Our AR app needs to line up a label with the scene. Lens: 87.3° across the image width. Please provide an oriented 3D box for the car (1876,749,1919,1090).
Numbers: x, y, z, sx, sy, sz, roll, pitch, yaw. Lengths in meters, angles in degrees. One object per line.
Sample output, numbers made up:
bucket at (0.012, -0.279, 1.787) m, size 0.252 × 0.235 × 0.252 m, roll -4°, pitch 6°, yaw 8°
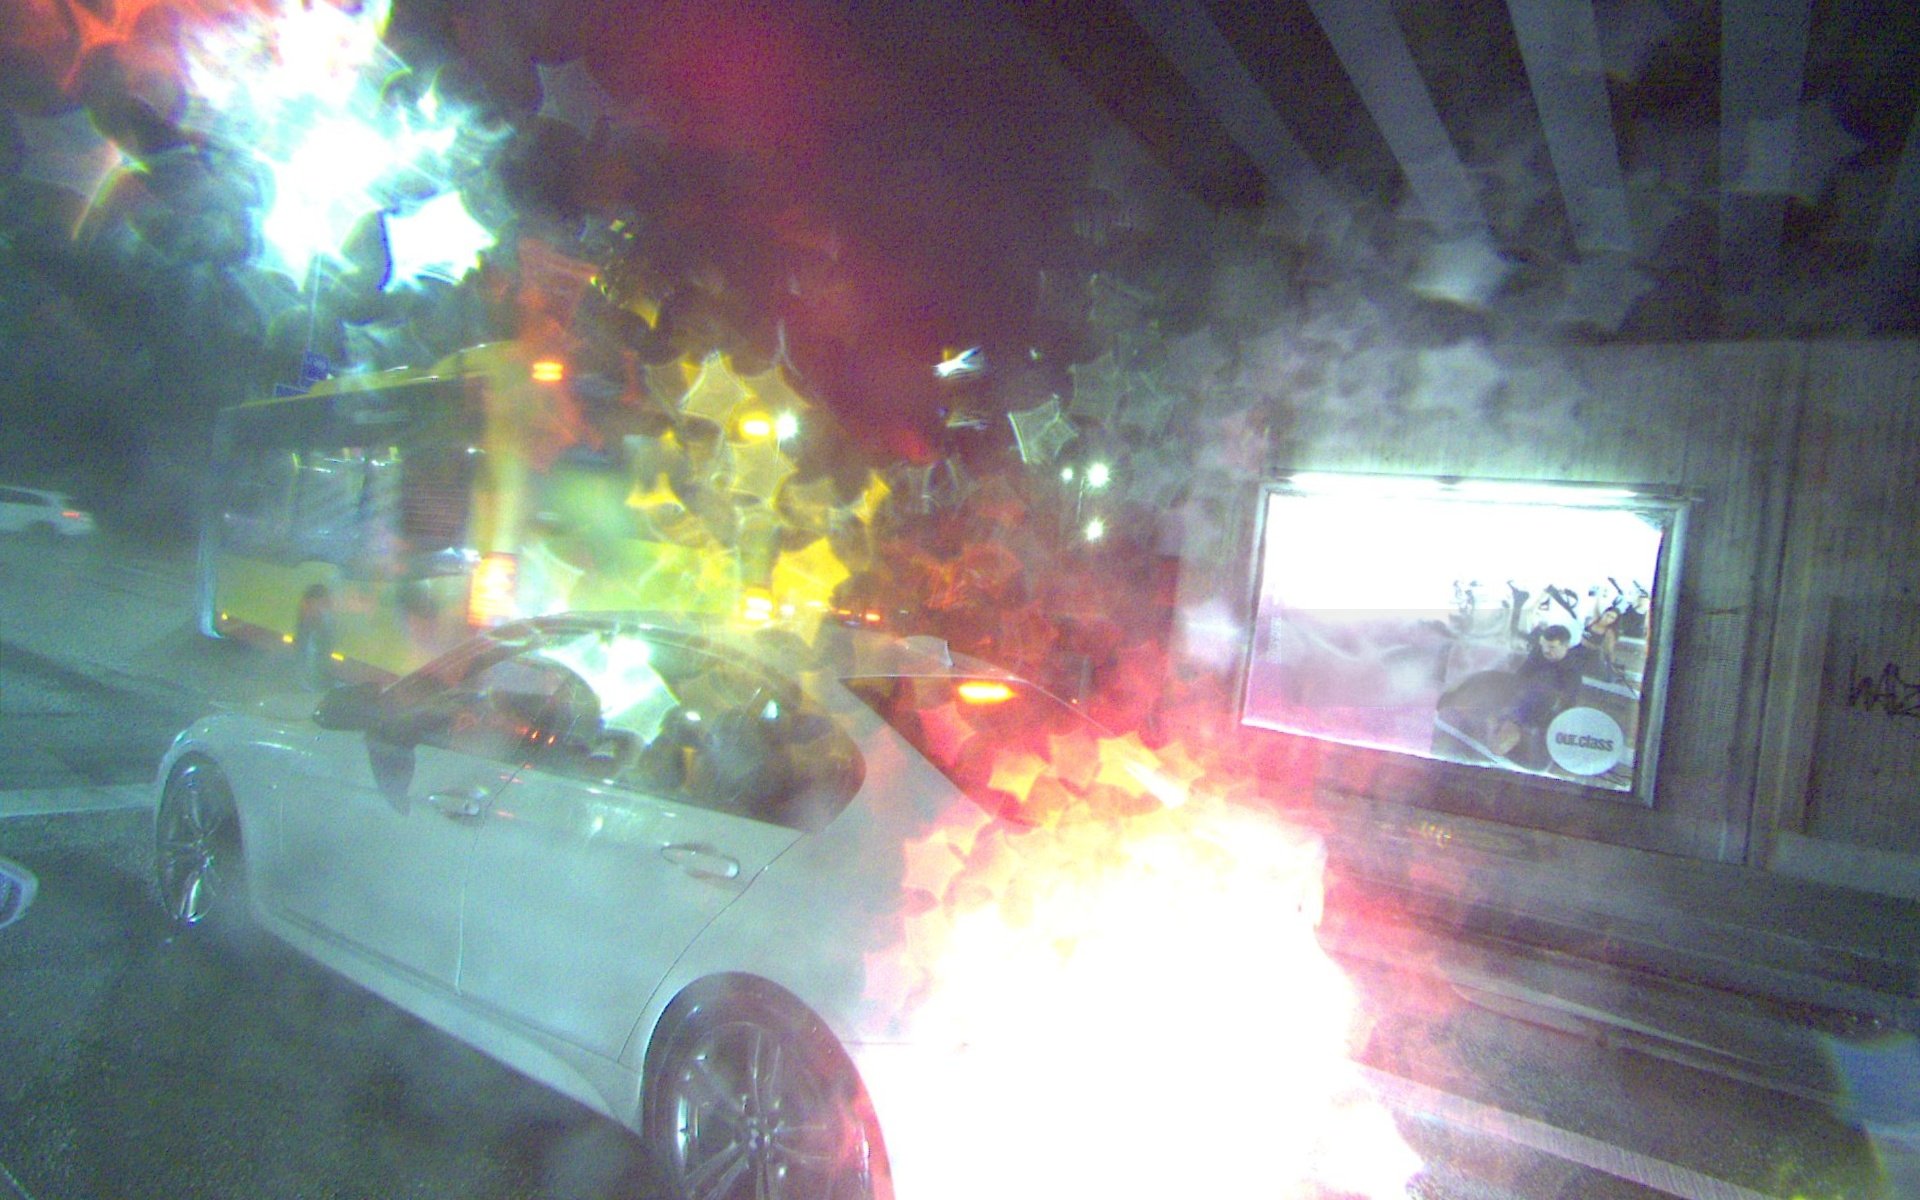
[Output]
car at (6.150, 1.606, 3.038) m, size 4.548 × 1.495 × 1.843 m, roll 6°, pitch -2°, yaw 27°

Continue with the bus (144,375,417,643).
bus at (-11.461, -1.344, 17.885) m, size 2.748 × 3.159 × 9.690 m, roll 8°, pitch -2°, yaw -29°

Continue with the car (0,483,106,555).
car at (-27.466, -2.480, 28.633) m, size 4.378 × 1.698 × 1.785 m, roll 9°, pitch -2°, yaw -27°

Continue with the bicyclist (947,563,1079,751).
bicyclist at (0.554, 0.583, 10.365) m, size 0.886 × 1.783 × 0.798 m, roll 6°, pitch -1°, yaw 32°

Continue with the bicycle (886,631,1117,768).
bicycle at (0.401, 0.996, 10.394) m, size 2.171 × 1.070 × 0.798 m, roll 6°, pitch -2°, yaw 32°

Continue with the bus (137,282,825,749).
bus at (-5.907, -0.828, 10.936) m, size 9.622 × 3.160 × 2.768 m, roll 7°, pitch -2°, yaw 40°

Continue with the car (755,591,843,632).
car at (-8.131, 0.607, 51.038) m, size 1.771 × 1.504 × 4.138 m, roll 6°, pitch -3°, yaw 41°

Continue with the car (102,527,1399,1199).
car at (-0.973, 0.706, 3.488) m, size 4.277 × 1.420 × 1.720 m, roll 6°, pitch -2°, yaw 32°
